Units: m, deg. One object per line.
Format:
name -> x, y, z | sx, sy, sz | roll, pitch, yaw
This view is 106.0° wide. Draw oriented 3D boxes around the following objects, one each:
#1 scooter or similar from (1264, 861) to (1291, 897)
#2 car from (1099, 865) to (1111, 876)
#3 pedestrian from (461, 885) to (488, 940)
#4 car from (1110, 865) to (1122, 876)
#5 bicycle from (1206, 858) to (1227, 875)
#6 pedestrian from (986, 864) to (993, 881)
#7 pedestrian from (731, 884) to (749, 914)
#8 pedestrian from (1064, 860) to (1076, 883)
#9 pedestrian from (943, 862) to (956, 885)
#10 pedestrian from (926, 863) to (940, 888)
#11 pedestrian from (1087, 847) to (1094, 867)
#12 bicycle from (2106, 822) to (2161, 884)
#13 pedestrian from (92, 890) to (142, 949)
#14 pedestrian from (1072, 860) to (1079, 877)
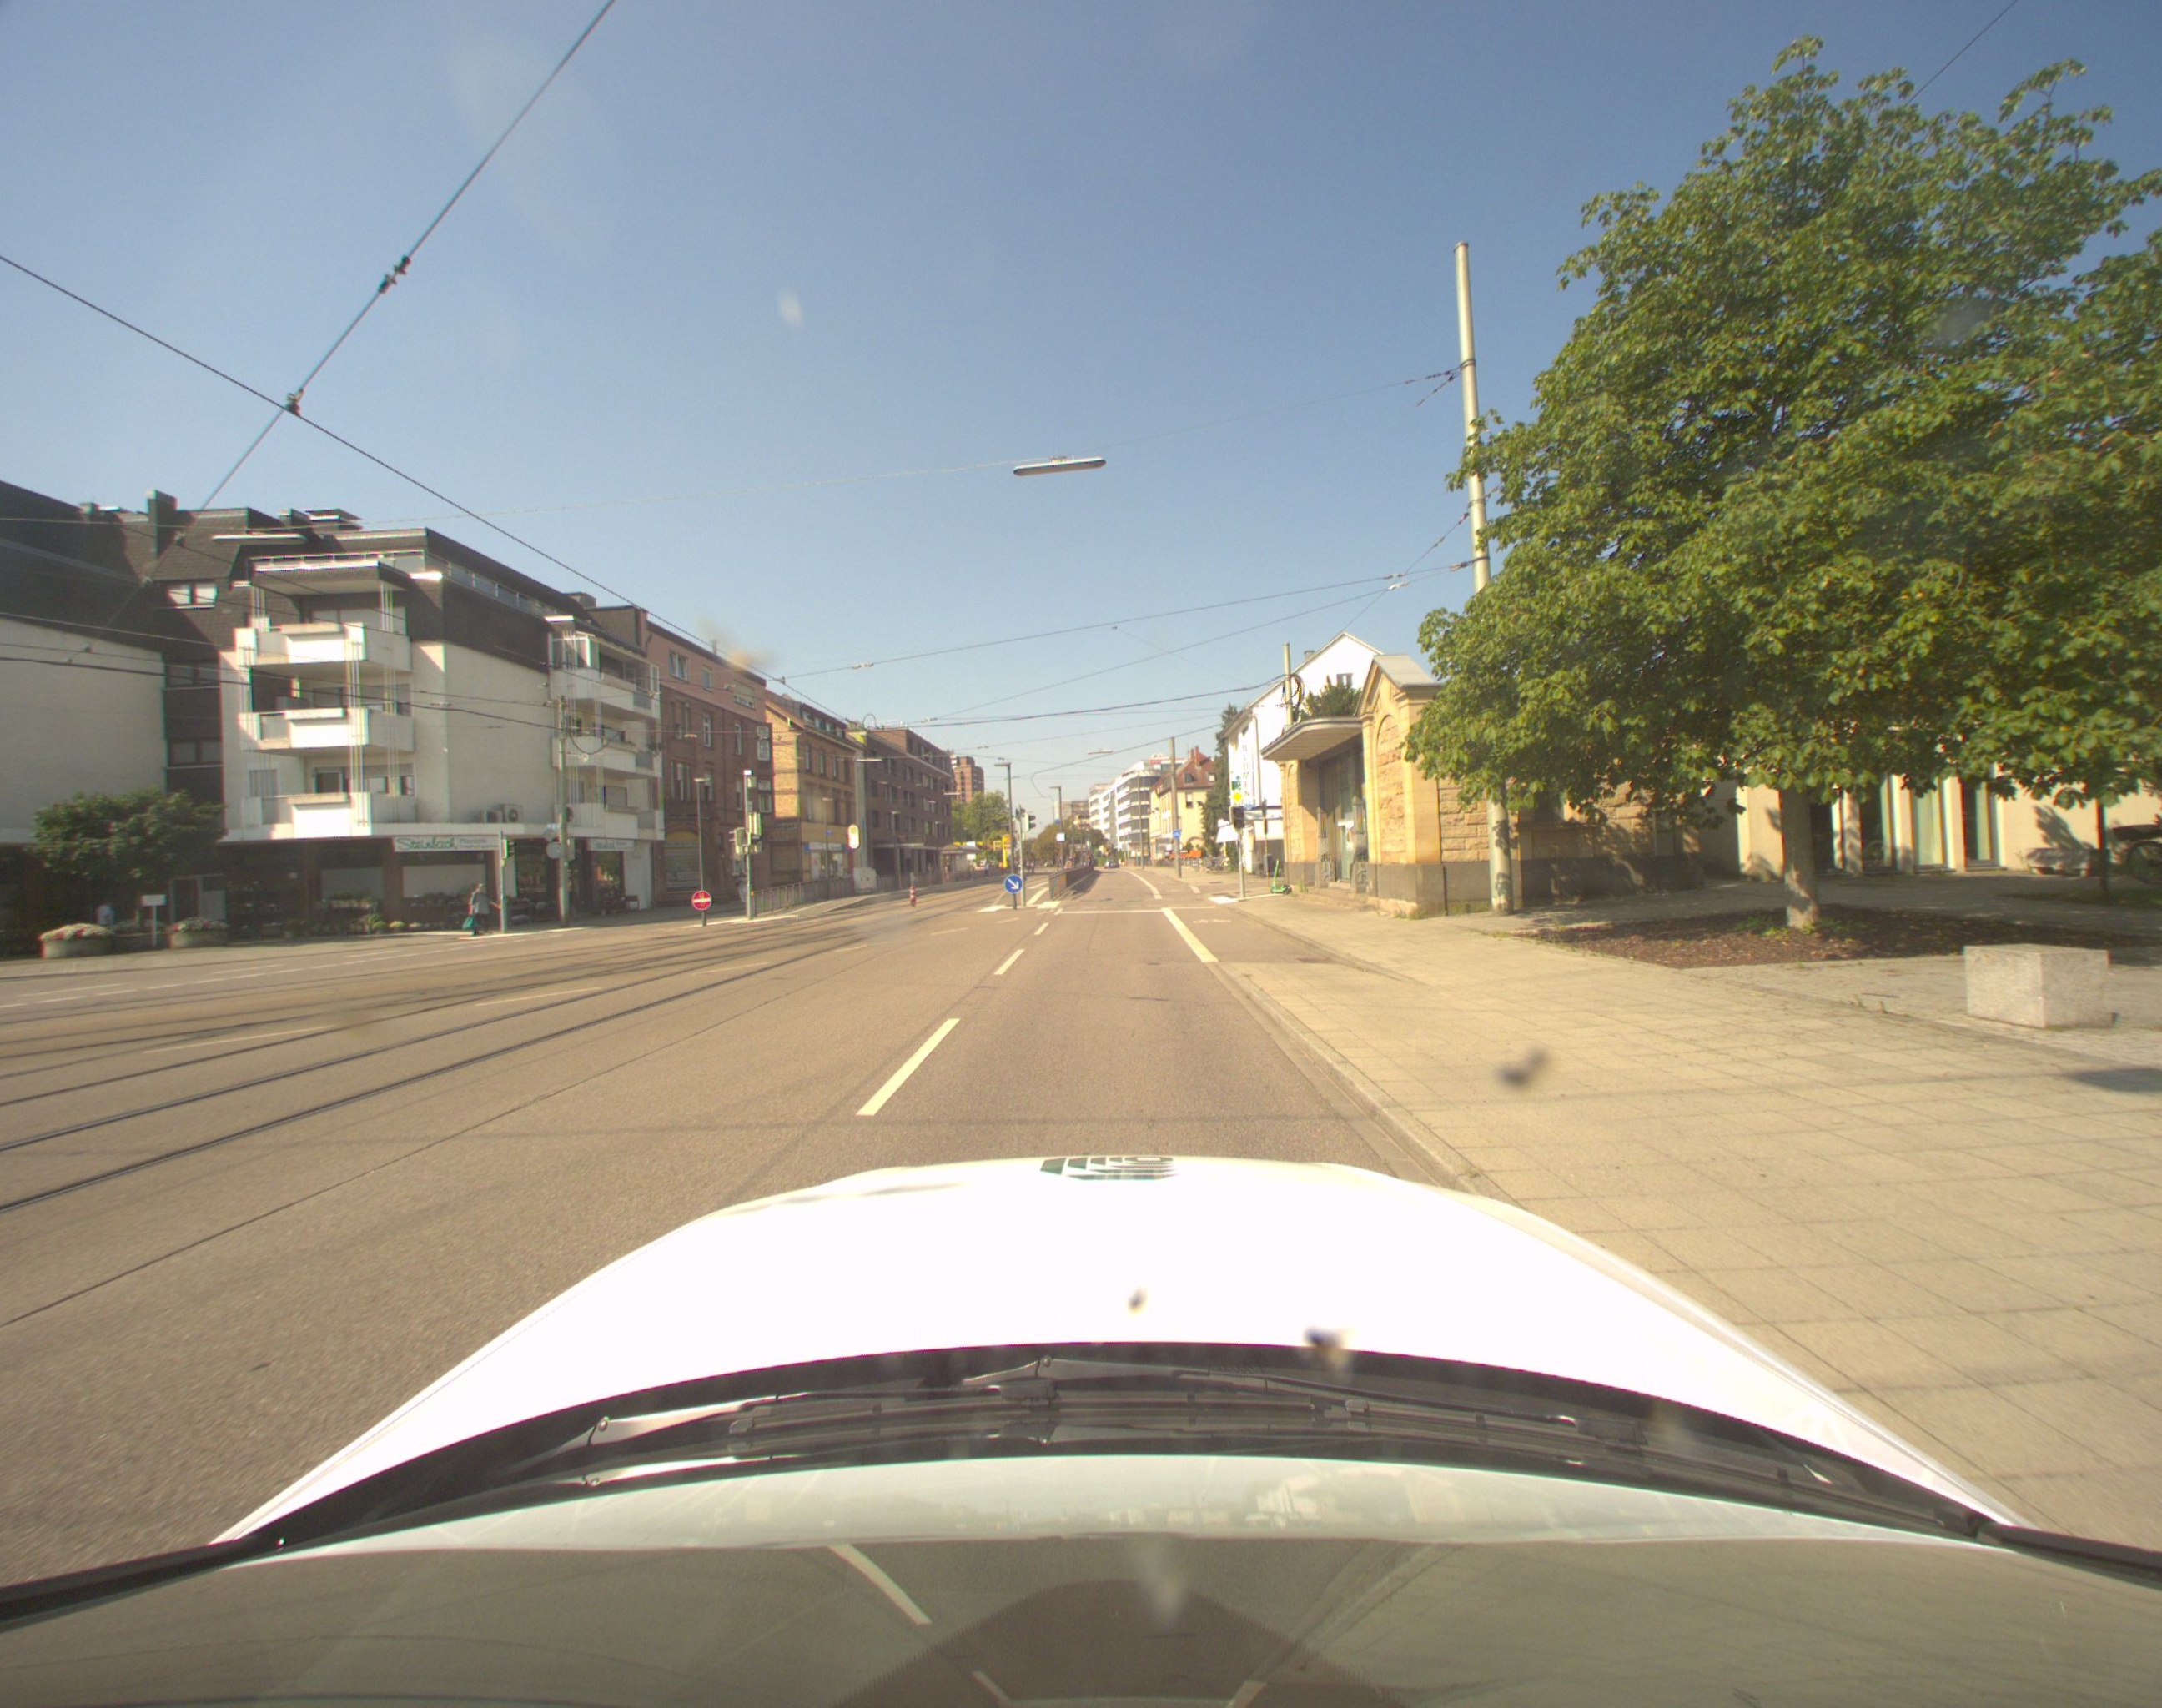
scooter or similar -> 6.573, 0.840, 27.299 | 0.521, 1.133, 1.512 | -4, -1, 3
car -> 4.542, 3.187, 154.654 | 2.003, 1.859, 4.003 | -4, -1, 3
pedestrian -> -20.257, 1.949, 27.211 | 0.602, 1.745, 0.560 | -3, -2, -31
car -> 6.458, 2.978, 148.523 | 2.003, 1.859, 4.003 | -4, -1, 3
bicycle -> 9.635, 0.909, 57.961 | 0.730, 1.132, 2.834 | -6, -1, -5
pedestrian -> -8.674, 1.755, 77.304 | 0.531, 1.530, 0.700 | -4, -1, -4
pedestrian -> -18.611, 2.446, 44.440 | 0.479, 1.560, 0.890 | -2, -2, 13
pedestrian -> -0.834, 1.308, 62.264 | 0.717, 1.703, 0.885 | -4, -1, 3
pedestrian -> -10.387, 1.520, 64.268 | 0.705, 1.747, 0.799 | -4, -1, 3
pedestrian -> -10.478, 1.512, 57.587 | 0.705, 1.723, 0.799 | -4, -1, 3
pedestrian -> 0.866, 0.293, 73.012 | 0.534, 1.703, 0.582 | -4, -1, 0
bicycle -> 17.837, -0.041, 13.175 | 1.897, 0.980, 0.427 | -2, -1, 1
pedestrian -> -30.264, 2.047, 25.571 | 0.677, 1.741, 0.698 | -4, -1, 3
pedestrian -> -0.574, 1.508, 84.651 | 0.534, 1.703, 0.582 | -4, -1, 0
